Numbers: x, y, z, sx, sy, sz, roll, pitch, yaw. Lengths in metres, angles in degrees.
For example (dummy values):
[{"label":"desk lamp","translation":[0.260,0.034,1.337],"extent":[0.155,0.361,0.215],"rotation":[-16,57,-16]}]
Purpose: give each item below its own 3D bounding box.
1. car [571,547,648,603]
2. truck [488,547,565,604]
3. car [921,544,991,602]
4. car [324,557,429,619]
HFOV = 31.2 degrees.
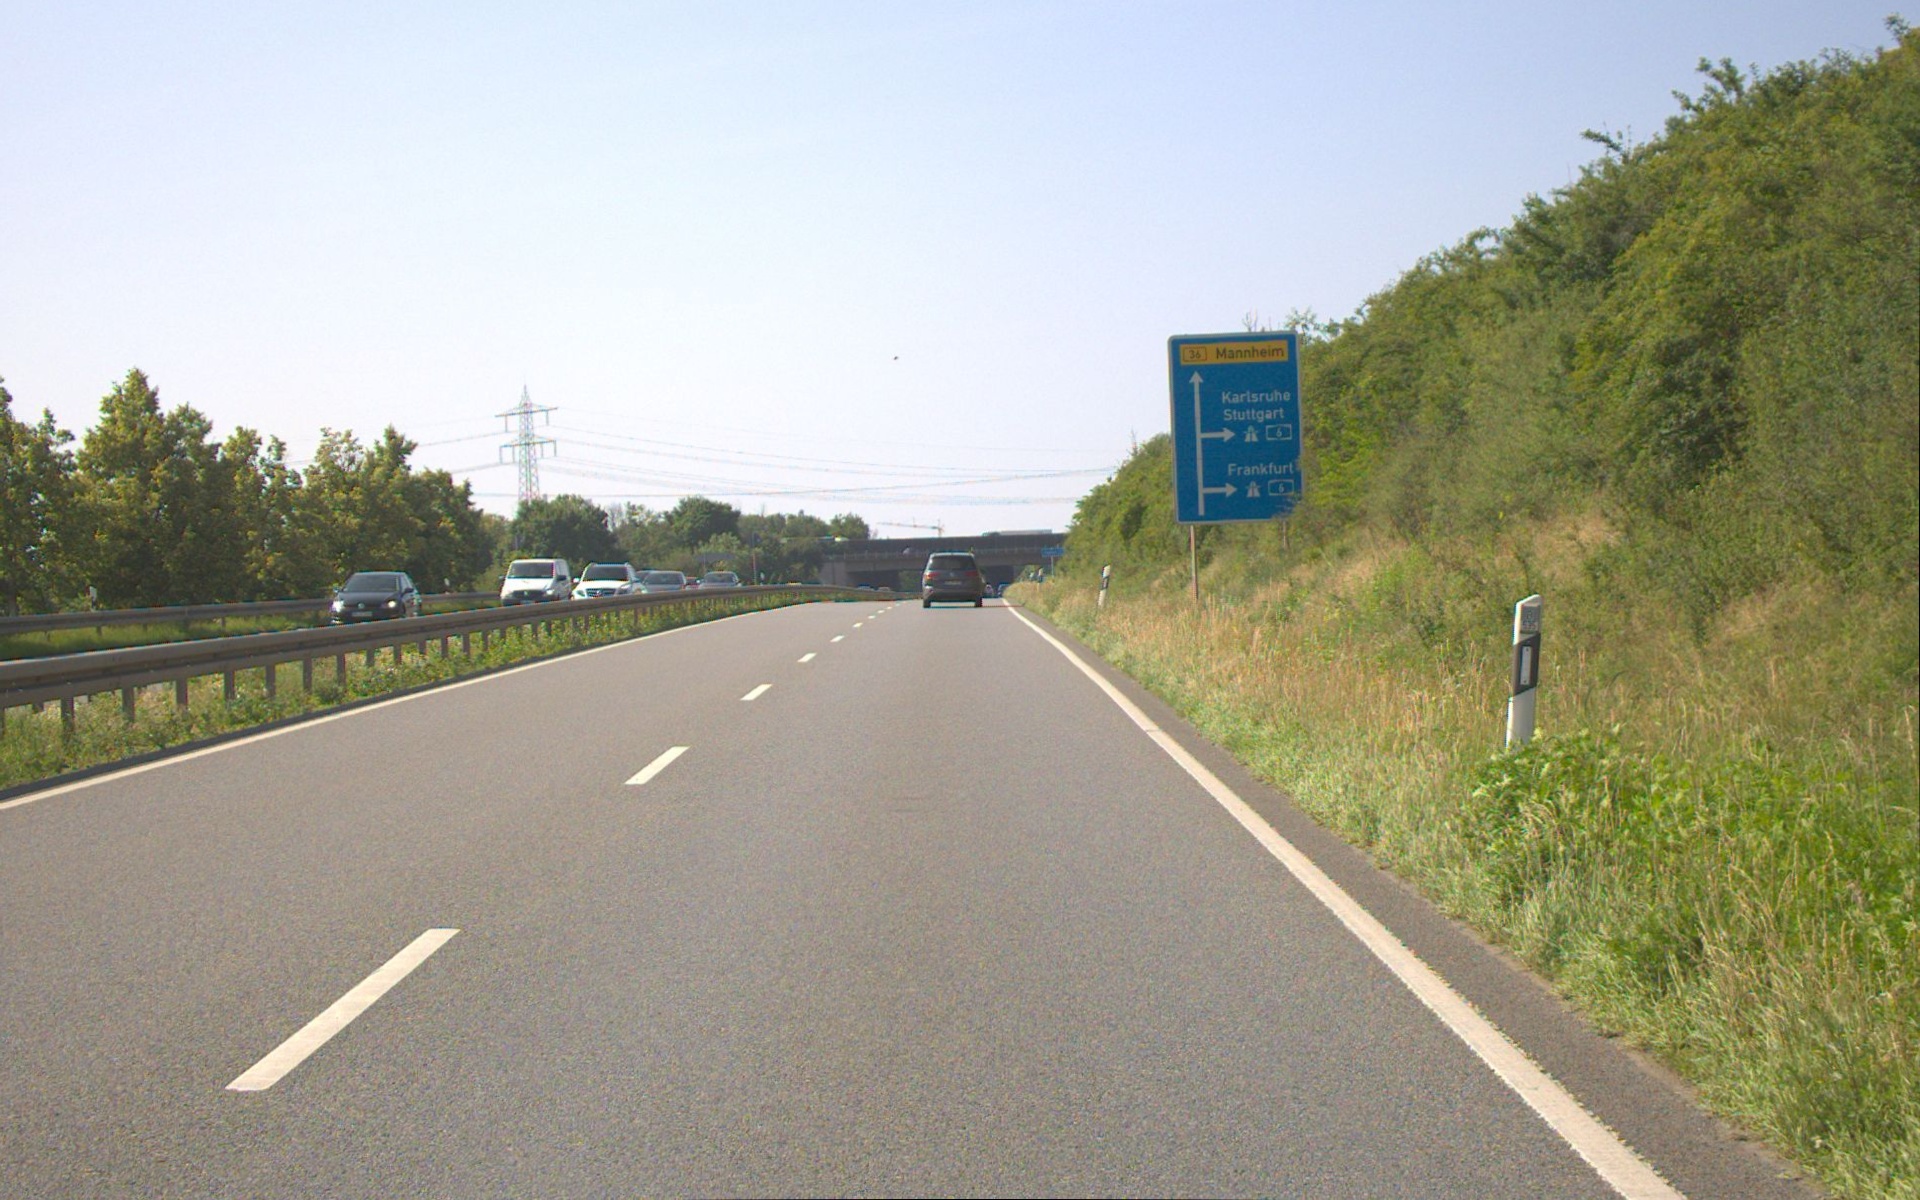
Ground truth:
[{"label":"car","translation":[-10.785,-0.786,106.019],"extent":[1.839,1.659,4.721],"rotation":[0,1,0]},{"label":"truck","translation":[-14.607,-0.850,116.084],"extent":[1.922,1.834,5.292],"rotation":[-1,1,0]},{"label":"car","translation":[-0.101,-0.793,102.841],"extent":[1.850,1.639,4.000],"rotation":[-2,0,3]},{"label":"car","translation":[-14.544,-0.320,85.859],"extent":[1.839,1.467,4.459],"rotation":[-1,1,0]}]
